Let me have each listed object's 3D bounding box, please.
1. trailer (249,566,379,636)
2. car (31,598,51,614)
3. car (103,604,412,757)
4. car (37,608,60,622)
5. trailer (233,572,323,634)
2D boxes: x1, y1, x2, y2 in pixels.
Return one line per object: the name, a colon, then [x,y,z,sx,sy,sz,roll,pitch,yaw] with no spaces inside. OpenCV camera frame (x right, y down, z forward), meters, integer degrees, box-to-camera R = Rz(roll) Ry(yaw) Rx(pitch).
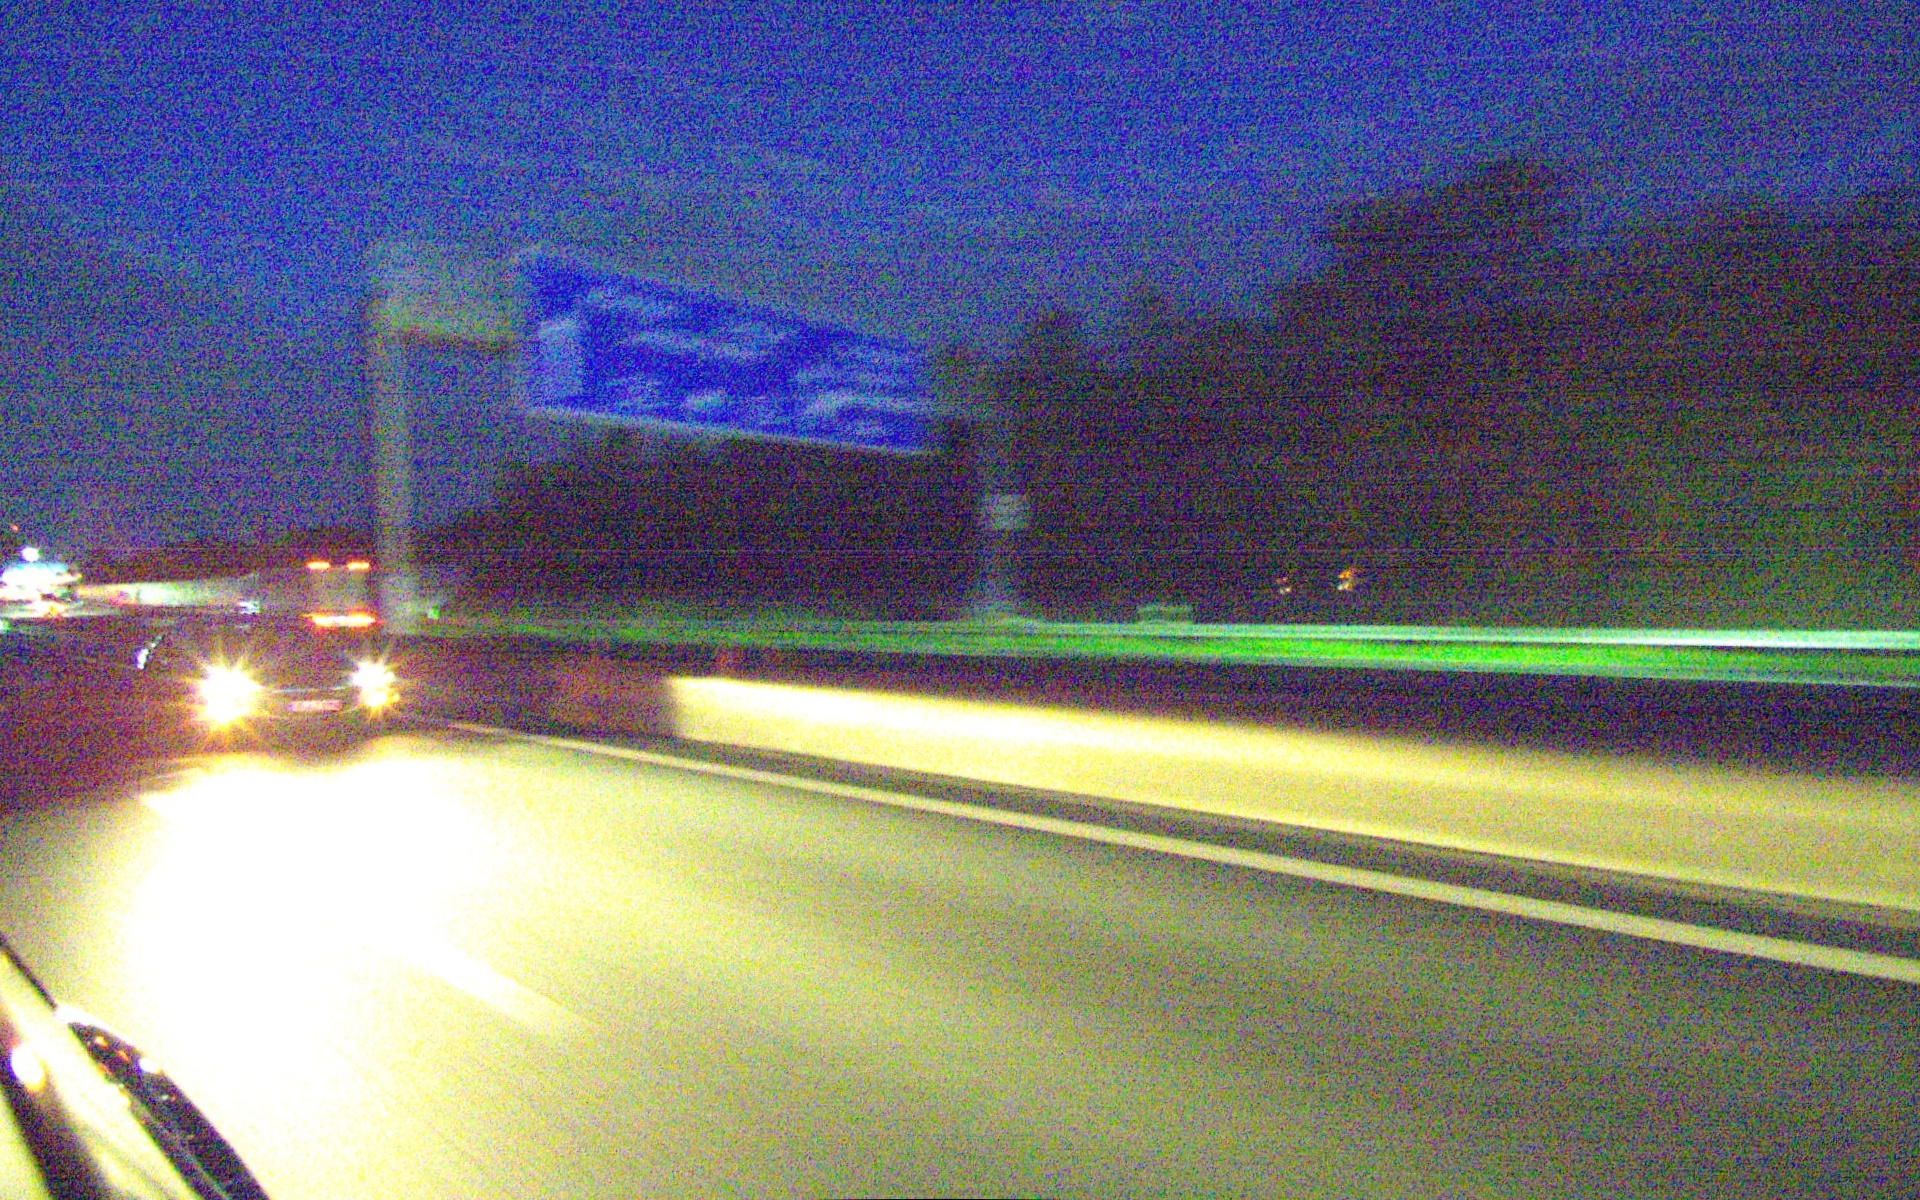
trailer: [-41.329,0.131,64.401,14.045,4.010,3.394,-1,0,42]
car: [-177.792,1.168,195.718,2.621,3.108,8.221,-1,0,-44]
car: [-9.251,0.926,13.083,5.648,1.530,1.973,-2,-1,41]
car: [-121.262,1.986,134.634,4.673,1.706,1.803,1,1,43]
trailer: [-46.776,0.221,69.332,7.350,4.010,3.394,-1,0,42]
